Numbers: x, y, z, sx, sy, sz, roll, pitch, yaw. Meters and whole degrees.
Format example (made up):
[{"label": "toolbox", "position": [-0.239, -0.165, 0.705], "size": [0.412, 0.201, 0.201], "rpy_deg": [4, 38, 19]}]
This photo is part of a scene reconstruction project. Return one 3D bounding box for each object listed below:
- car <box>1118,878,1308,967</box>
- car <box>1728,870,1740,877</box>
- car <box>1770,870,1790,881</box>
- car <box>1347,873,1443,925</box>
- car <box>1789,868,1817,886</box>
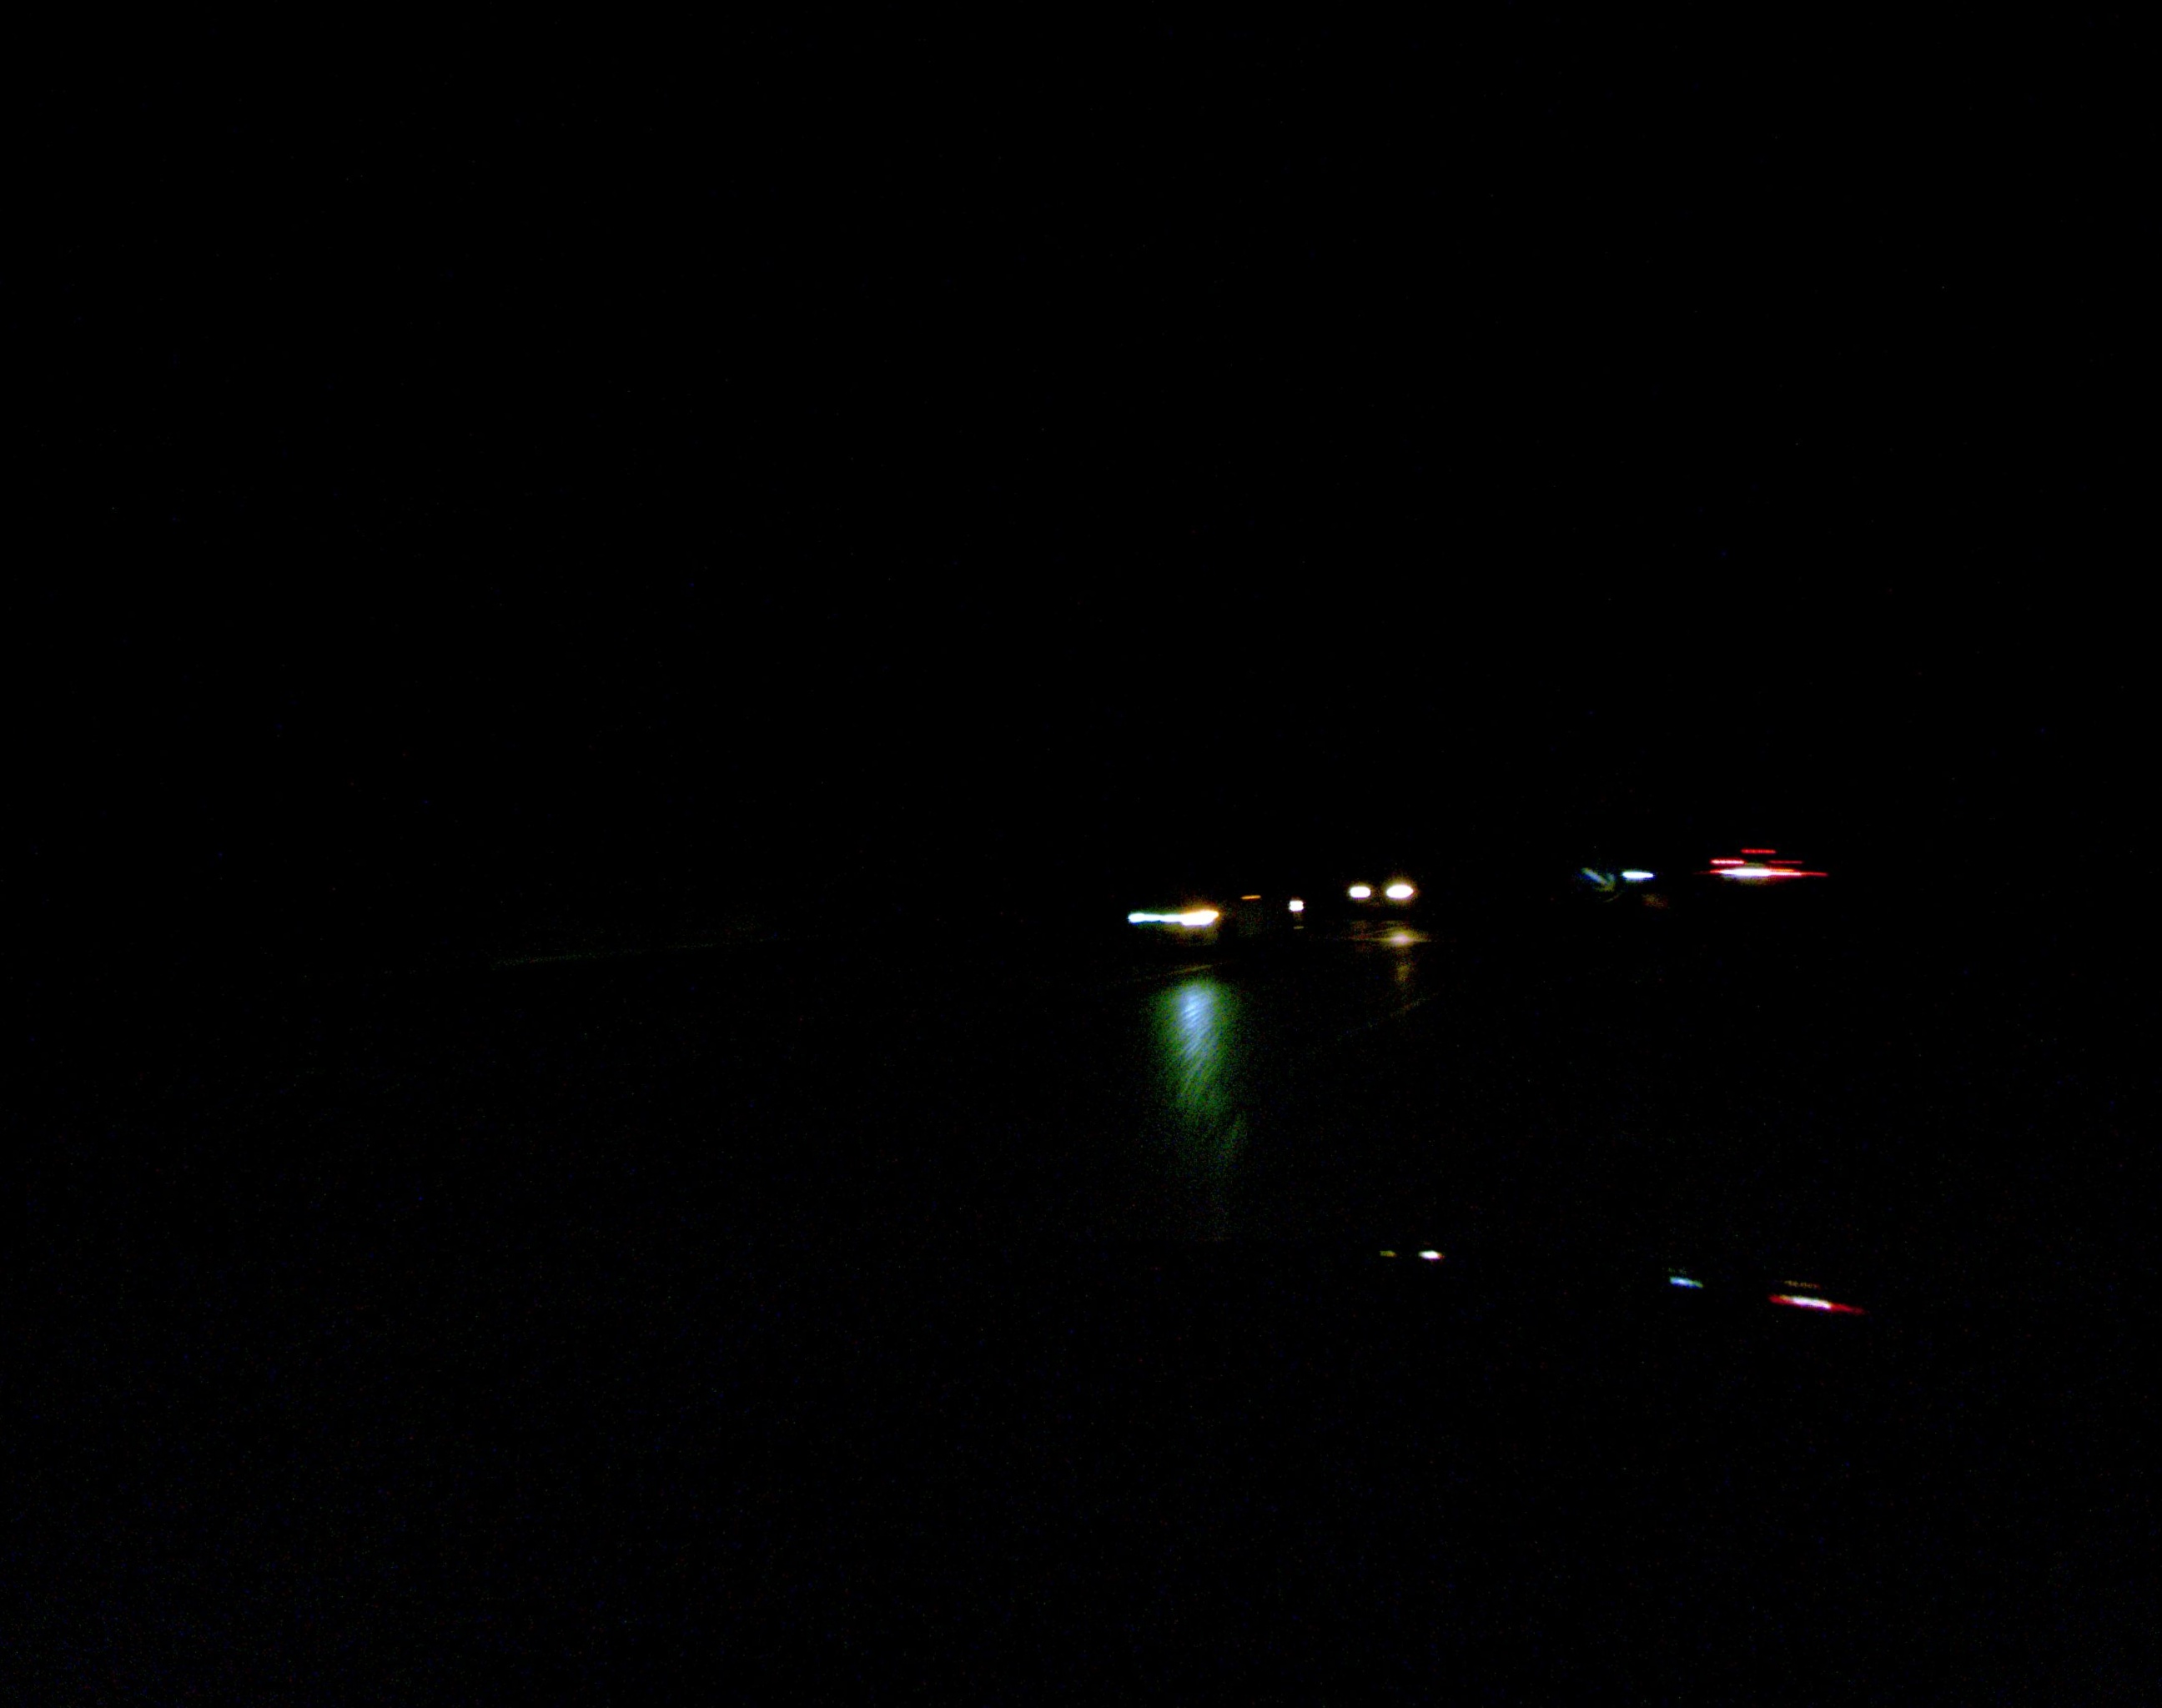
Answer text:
[{"label": "car", "position": [2.713, 1.223, 14.915], "size": [1.759, 1.450, 4.202], "rpy_deg": [-2, -2, 40]}, {"label": "car", "position": [141.403, 4.215, 164.574], "size": [1.927, 1.510, 4.009], "rpy_deg": [-1, -1, 40]}, {"label": "car", "position": [109.381, 3.345, 118.895], "size": [2.122, 1.620, 4.709], "rpy_deg": [-1, -1, 41]}, {"label": "car", "position": [9.629, 1.320, 23.193], "size": [1.653, 1.442, 3.498], "rpy_deg": [-2, -2, 40]}, {"label": "car", "position": [62.040, 1.947, 65.353], "size": [1.545, 1.511, 3.524], "rpy_deg": [2, 0, 41]}]
